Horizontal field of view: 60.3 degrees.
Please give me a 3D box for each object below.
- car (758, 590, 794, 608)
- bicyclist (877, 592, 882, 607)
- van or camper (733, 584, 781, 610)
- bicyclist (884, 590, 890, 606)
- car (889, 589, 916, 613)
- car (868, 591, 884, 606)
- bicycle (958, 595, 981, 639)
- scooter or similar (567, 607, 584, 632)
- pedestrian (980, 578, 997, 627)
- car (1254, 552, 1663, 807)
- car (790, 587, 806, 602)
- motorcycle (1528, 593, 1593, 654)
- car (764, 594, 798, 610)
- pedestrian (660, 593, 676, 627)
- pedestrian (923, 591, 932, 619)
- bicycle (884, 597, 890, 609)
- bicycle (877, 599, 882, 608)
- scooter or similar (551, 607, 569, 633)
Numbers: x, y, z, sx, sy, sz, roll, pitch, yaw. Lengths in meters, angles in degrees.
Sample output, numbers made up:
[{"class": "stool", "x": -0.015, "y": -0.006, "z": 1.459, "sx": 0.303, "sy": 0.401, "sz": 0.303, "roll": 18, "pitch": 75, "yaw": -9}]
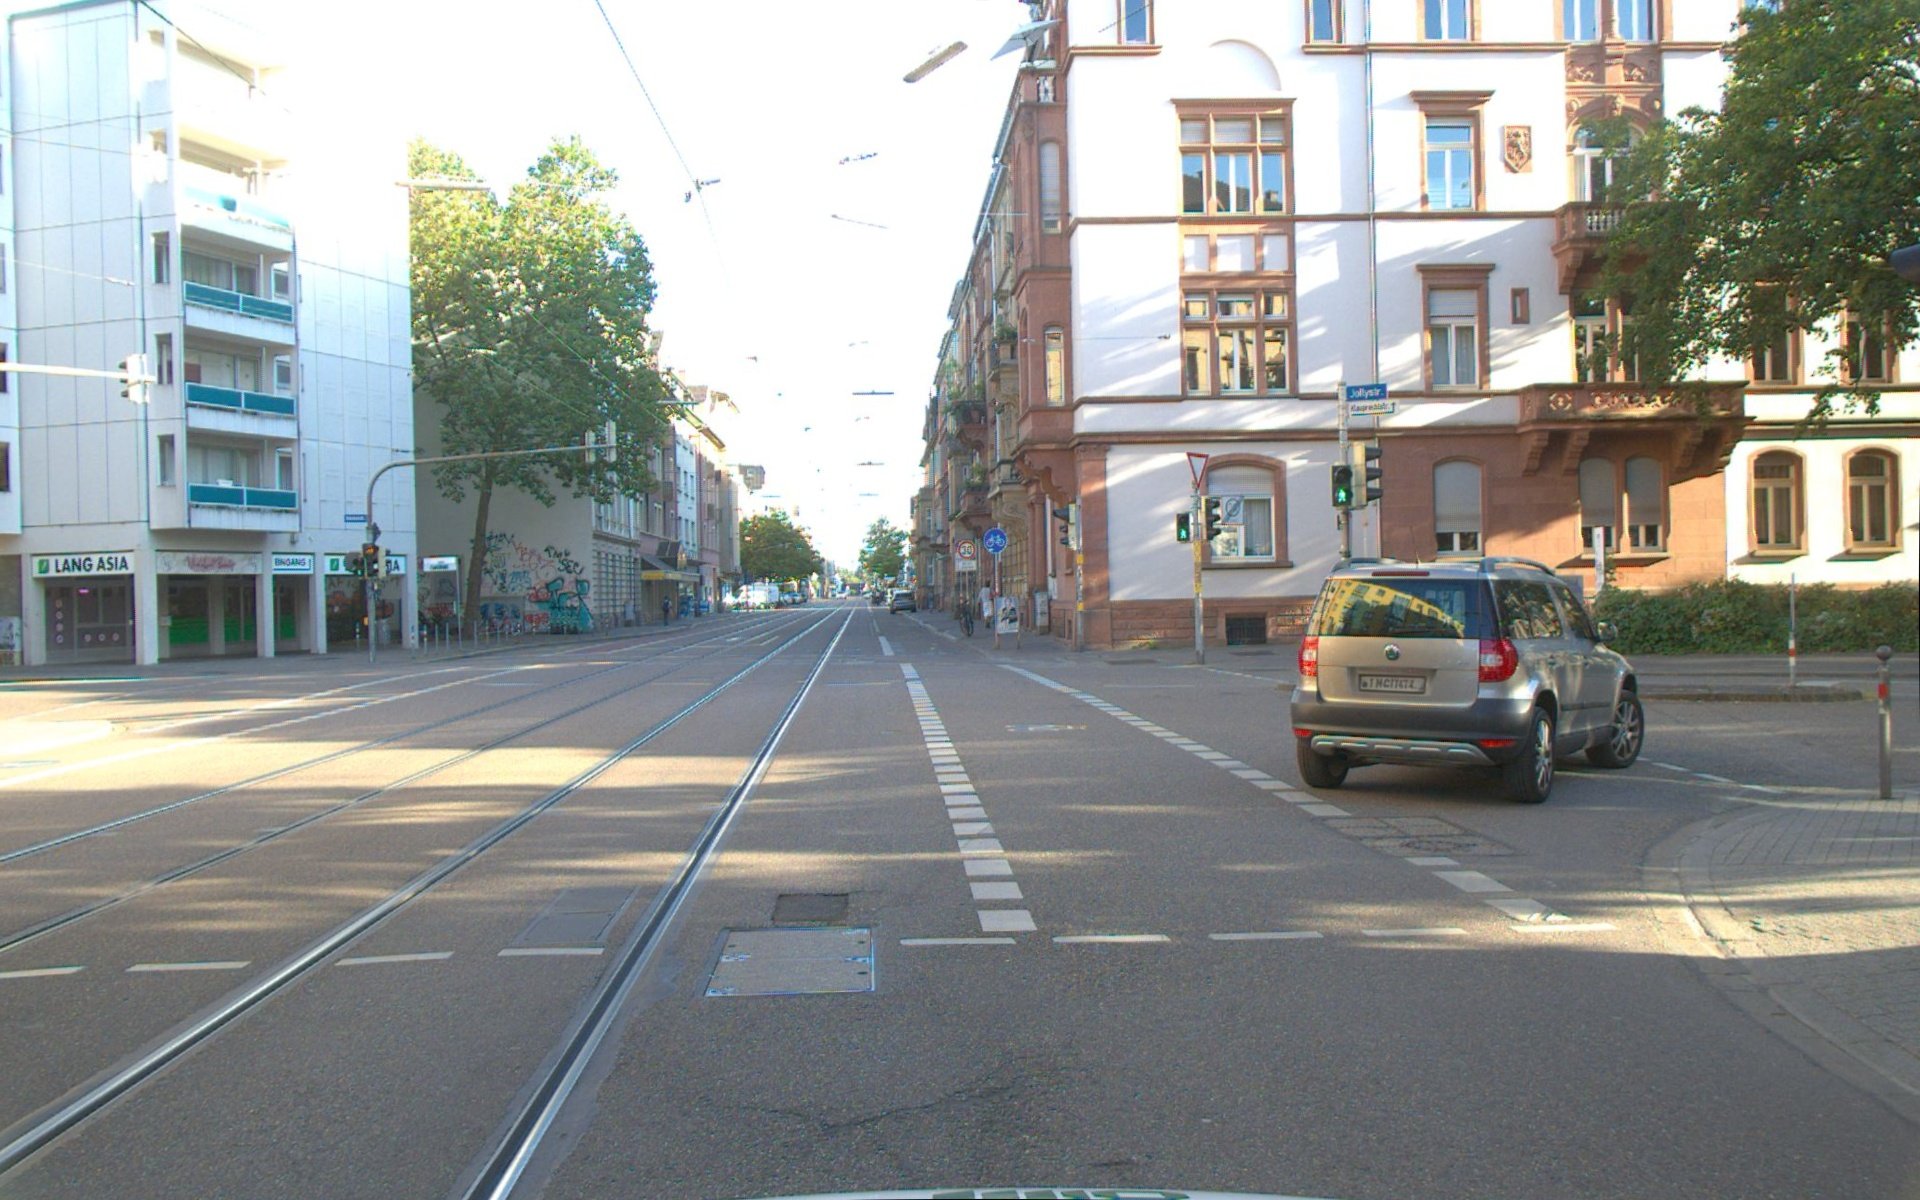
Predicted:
[{"class": "car", "x": -22.883, "y": -0.106, "z": 205.845, "sx": 3.942, "sy": 2.049, "sz": 1.981, "roll": -2, "pitch": 0, "yaw": -28}, {"class": "bicyclist", "x": -9.763, "y": -0.048, "z": 199.767, "sx": 0.563, "sy": 1.708, "sz": 0.794, "roll": -1, "pitch": 1, "yaw": -2}, {"class": "van or camper", "x": -20.931, "y": -0.326, "z": 170.734, "sx": 4.595, "sy": 2.608, "sz": 1.976, "roll": -1, "pitch": 0, "yaw": -35}, {"class": "bicyclist", "x": -7.083, "y": -0.216, "z": 160.353, "sx": 0.563, "sy": 1.581, "sz": 0.595, "roll": -1, "pitch": 0, "yaw": -2}, {"class": "car", "x": -4.239, "y": 0.083, "z": 121.444, "sx": 1.911, "sy": 1.713, "sz": 3.998, "roll": -2, "pitch": 0, "yaw": -2}, {"class": "car", "x": -10.245, "y": -0.219, "z": 201.569, "sx": 1.954, "sy": 1.758, "sz": 3.997, "roll": -1, "pitch": 0, "yaw": -4}, {"class": "bicycle", "x": 0.292, "y": 0.520, "z": 52.275, "sx": 0.640, "sy": 1.347, "sz": 2.176, "roll": -1, "pitch": 0, "yaw": -1}, {"class": "scooter or similar", "x": -16.702, "y": 0.838, "z": 71.809, "sx": 0.506, "sy": 1.076, "sz": 1.477, "roll": -2, "pitch": 0, "yaw": -5}, {"class": "pedestrian", "x": 1.055, "y": 0.087, "z": 61.002, "sx": 0.534, "sy": 1.811, "sz": 0.504, "roll": -1, "pitch": 0, "yaw": -3}, {"class": "car", "x": 4.029, "y": 0.512, "z": 12.916, "sx": 1.959, "sy": 1.646, "sz": 3.987, "roll": 1, "pitch": 0, "yaw": 34}, {"class": "car", "x": -22.748, "y": -0.793, "z": 232.480, "sx": 1.954, "sy": 2.049, "sz": 3.997, "roll": -2, "pitch": 0, "yaw": -4}, {"class": "motorcycle", "x": 11.693, "y": 0.445, "z": 32.269, "sx": 0.704, "sy": 1.037, "sz": 2.289, "roll": -2, "pitch": 2, "yaw": 8}, {"class": "car", "x": -23.773, "y": 0.236, "z": 219.580, "sx": 3.942, "sy": 2.049, "sz": 1.981, "roll": -2, "pitch": 0, "yaw": -28}, {"class": "pedestrian", "x": -15.179, "y": 0.501, "z": 85.936, "sx": 0.687, "sy": 1.758, "sz": 0.647, "roll": -2, "pitch": 0, "yaw": -3}, {"class": "pedestrian", "x": -2.129, "y": 0.315, "z": 109.220, "sx": 0.534, "sy": 1.811, "sz": 0.749, "roll": -1, "pitch": 0, "yaw": -2}, {"class": "bicycle", "x": -7.067, "y": 0.292, "z": 160.359, "sx": 0.563, "sy": 1.048, "sz": 1.894, "roll": -1, "pitch": 0, "yaw": -2}, {"class": "bicycle", "x": -9.742, "y": 0.456, "z": 199.784, "sx": 0.563, "sy": 1.048, "sz": 1.894, "roll": -1, "pitch": 1, "yaw": -2}, {"class": "scooter or similar", "x": -17.342, "y": 0.856, "z": 71.734, "sx": 0.506, "sy": 1.064, "sz": 1.477, "roll": -2, "pitch": 0, "yaw": -5}]
